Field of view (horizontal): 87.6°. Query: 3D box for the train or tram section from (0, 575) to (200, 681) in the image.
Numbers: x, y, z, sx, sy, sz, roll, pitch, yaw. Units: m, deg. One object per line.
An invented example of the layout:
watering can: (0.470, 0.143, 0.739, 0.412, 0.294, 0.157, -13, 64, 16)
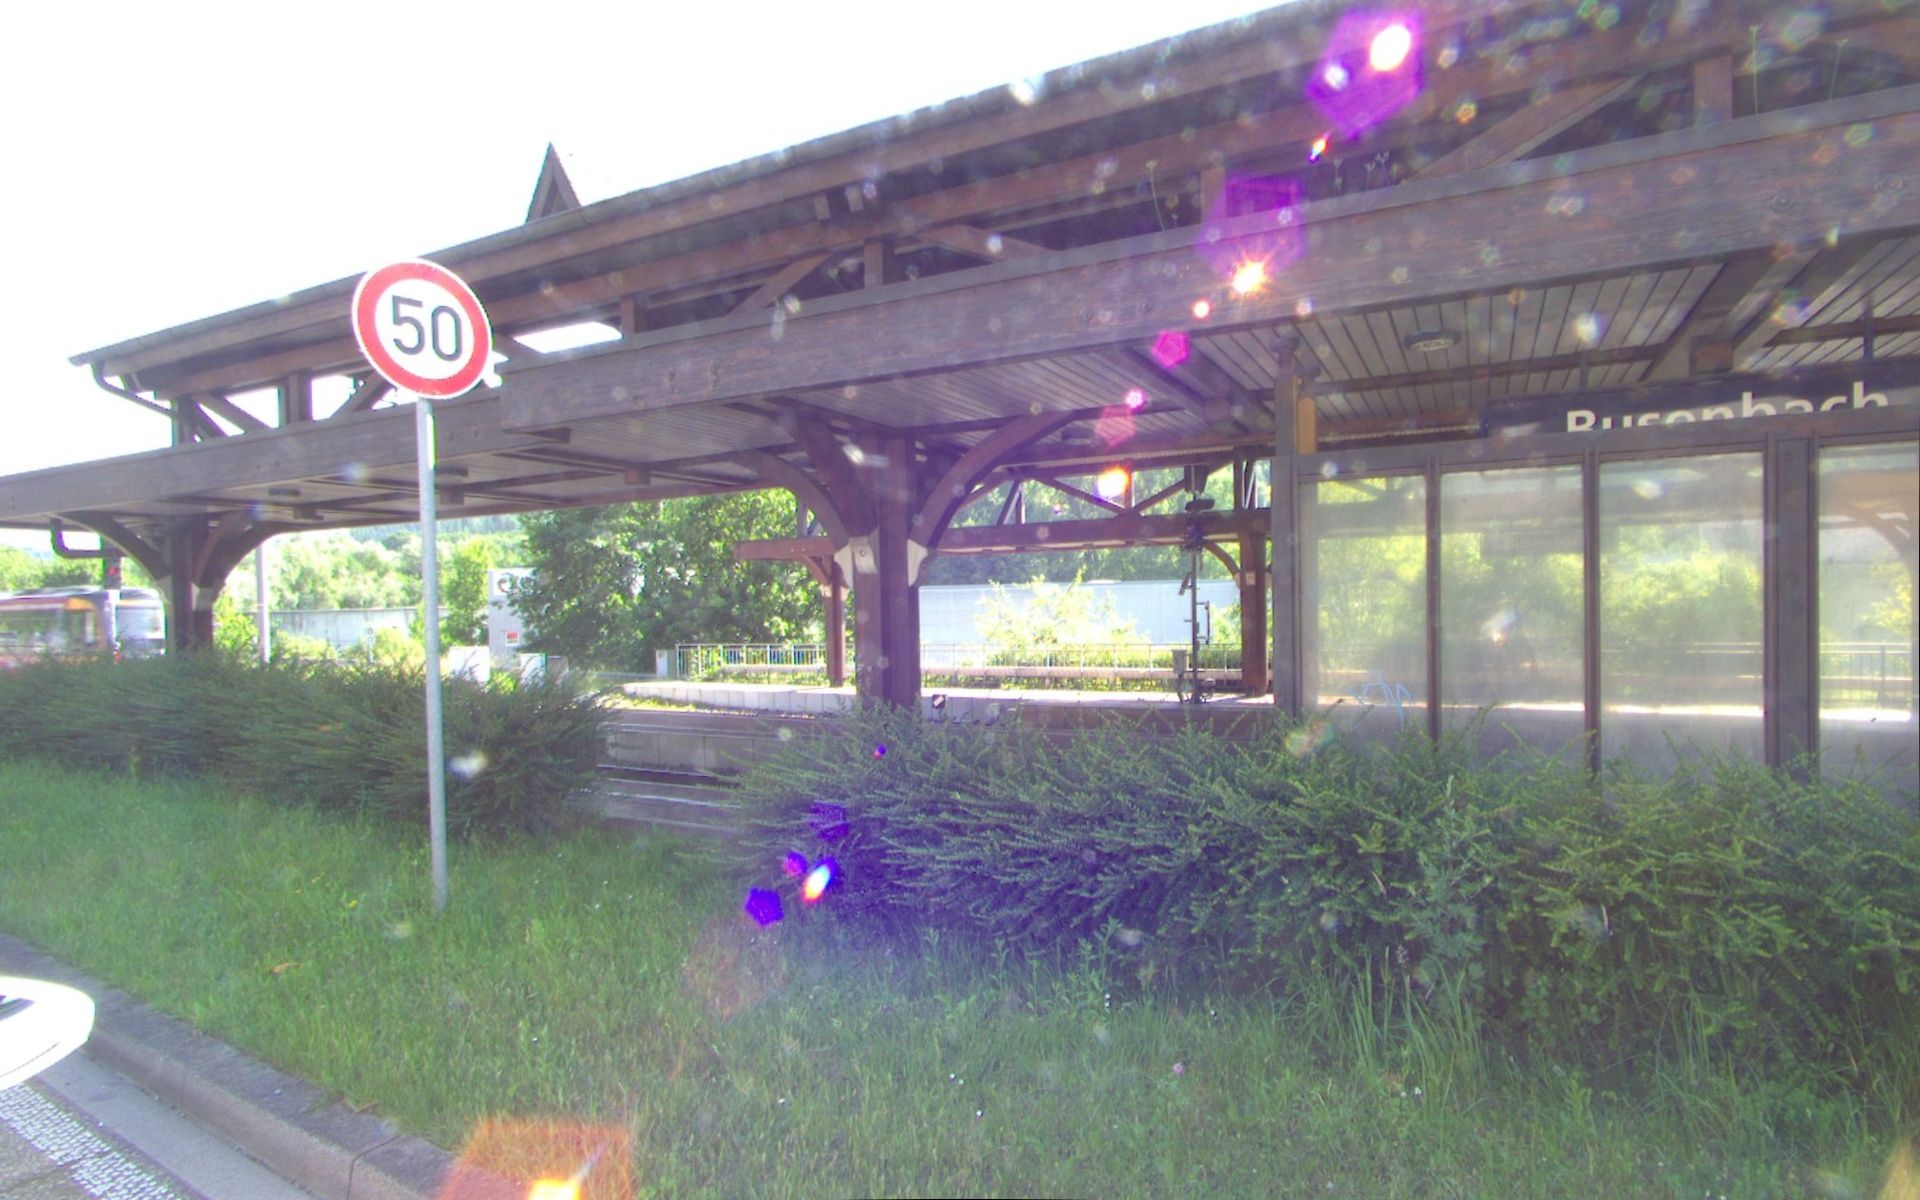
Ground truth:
train or tram section: (-33.088, 1.016, 36.976, 14.140, 3.408, 2.852, -1, -1, 30)

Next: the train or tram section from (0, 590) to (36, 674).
train or tram section: (-44.181, 1.367, 43.336, 11.870, 3.406, 2.784, -1, -2, 31)
